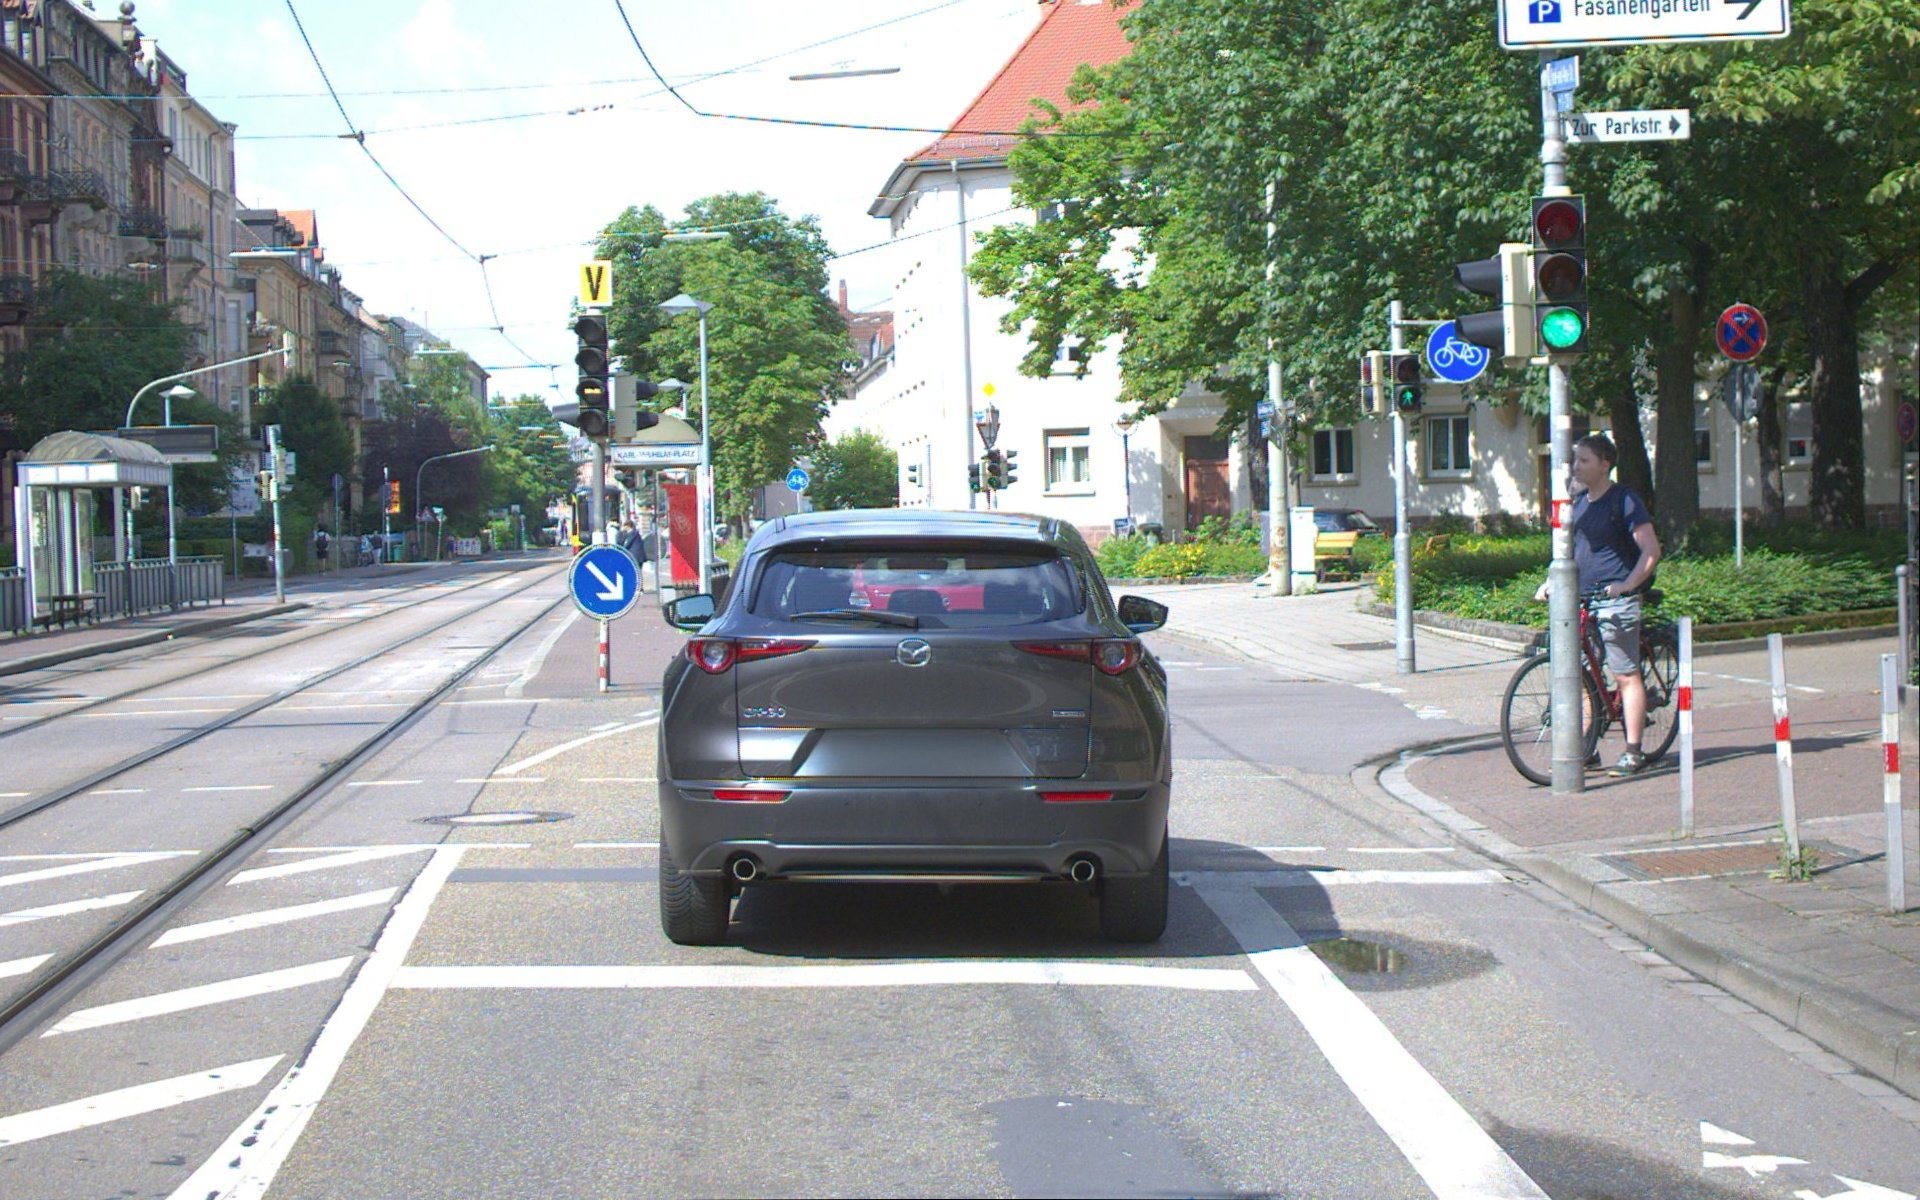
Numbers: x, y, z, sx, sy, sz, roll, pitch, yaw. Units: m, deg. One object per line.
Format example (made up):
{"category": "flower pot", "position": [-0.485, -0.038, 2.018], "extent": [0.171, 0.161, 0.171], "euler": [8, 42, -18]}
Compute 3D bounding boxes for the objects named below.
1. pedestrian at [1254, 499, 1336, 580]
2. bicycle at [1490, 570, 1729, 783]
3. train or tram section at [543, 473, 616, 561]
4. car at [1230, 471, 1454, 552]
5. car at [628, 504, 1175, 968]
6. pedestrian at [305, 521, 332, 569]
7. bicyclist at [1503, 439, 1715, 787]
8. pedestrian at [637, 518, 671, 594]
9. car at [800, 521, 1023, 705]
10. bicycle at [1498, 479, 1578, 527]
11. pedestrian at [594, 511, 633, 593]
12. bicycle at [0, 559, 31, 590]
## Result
{"category": "pedestrian", "position": [5.590, -1.014, 57.379], "extent": [1.192, 1.264, 0.558], "euler": [-4, 1, -9]}
{"category": "bicycle", "position": [3.540, 0.392, 18.631], "extent": [0.389, 1.032, 1.841], "euler": [-1, 2, 40]}
{"category": "train or tram section", "position": [-18.602, -3.990, 168.830], "extent": [2.997, 3.970, 13.811], "euler": [-2, 1, -4]}
{"category": "car", "position": [7.815, -1.815, 70.415], "extent": [4.167, 1.504, 1.848], "euler": [0, 3, 38]}
{"category": "car", "position": [-0.214, 0.416, 13.317], "extent": [1.782, 1.509, 4.000], "euler": [1, 1, -1]}
{"category": "pedestrian", "position": [-23.014, -1.967, 123.359], "extent": [0.788, 1.682, 0.732], "euler": [-1, 1, -3]}
{"category": "bicyclist", "position": [3.492, 0.060, 18.531], "extent": [0.733, 1.813, 0.820], "euler": [-2, 1, -27]}
{"category": "pedestrian", "position": [-6.314, -0.917, 70.935], "extent": [0.667, 1.540, 0.581], "euler": [-2, 1, -5]}
{"category": "car", "position": [-0.462, 0.061, 29.289], "extent": [1.775, 1.459, 3.843], "euler": [0, 1, -2]}
{"category": "bicycle", "position": [12.939, -2.167, 76.963], "extent": [0.565, 1.016, 1.752], "euler": [-5, 3, -41]}
{"category": "pedestrian", "position": [-7.246, -1.008, 71.917], "extent": [0.770, 1.669, 0.668], "euler": [-2, 1, -5]}
{"category": "bicycle", "position": [-23.982, -0.621, 85.797], "extent": [0.386, 0.745, 1.708], "euler": [-1, 2, 31]}
